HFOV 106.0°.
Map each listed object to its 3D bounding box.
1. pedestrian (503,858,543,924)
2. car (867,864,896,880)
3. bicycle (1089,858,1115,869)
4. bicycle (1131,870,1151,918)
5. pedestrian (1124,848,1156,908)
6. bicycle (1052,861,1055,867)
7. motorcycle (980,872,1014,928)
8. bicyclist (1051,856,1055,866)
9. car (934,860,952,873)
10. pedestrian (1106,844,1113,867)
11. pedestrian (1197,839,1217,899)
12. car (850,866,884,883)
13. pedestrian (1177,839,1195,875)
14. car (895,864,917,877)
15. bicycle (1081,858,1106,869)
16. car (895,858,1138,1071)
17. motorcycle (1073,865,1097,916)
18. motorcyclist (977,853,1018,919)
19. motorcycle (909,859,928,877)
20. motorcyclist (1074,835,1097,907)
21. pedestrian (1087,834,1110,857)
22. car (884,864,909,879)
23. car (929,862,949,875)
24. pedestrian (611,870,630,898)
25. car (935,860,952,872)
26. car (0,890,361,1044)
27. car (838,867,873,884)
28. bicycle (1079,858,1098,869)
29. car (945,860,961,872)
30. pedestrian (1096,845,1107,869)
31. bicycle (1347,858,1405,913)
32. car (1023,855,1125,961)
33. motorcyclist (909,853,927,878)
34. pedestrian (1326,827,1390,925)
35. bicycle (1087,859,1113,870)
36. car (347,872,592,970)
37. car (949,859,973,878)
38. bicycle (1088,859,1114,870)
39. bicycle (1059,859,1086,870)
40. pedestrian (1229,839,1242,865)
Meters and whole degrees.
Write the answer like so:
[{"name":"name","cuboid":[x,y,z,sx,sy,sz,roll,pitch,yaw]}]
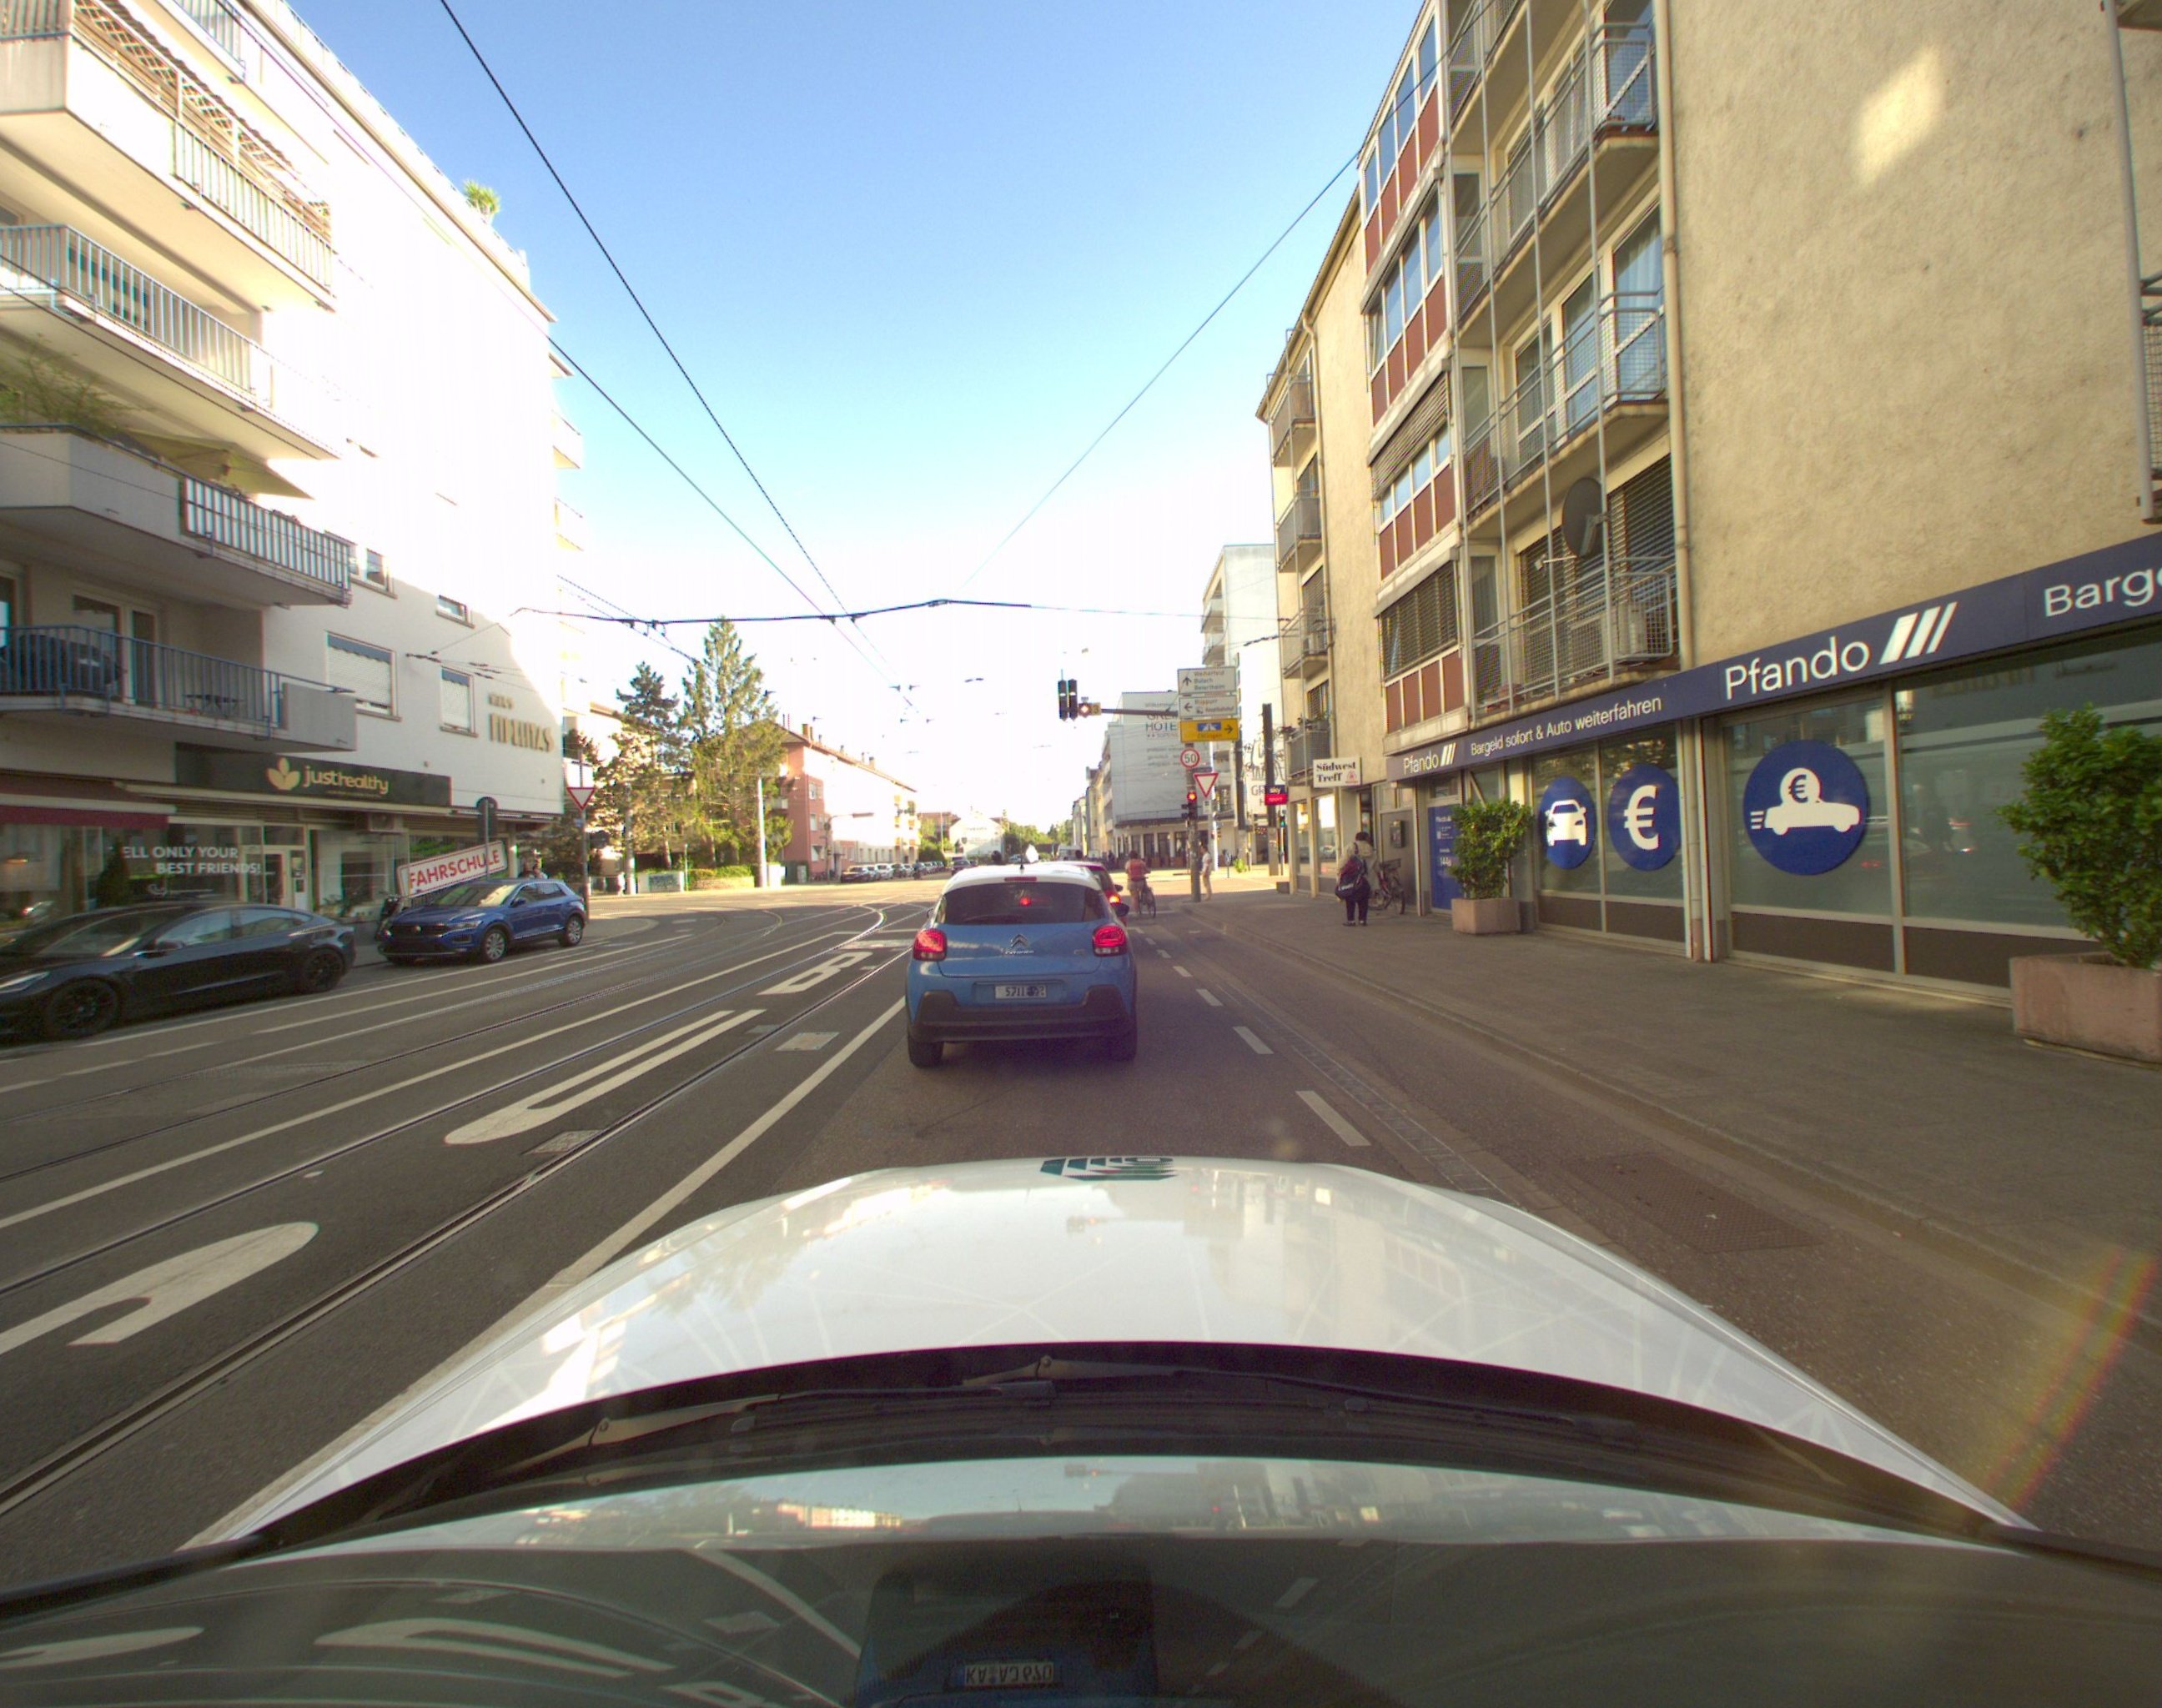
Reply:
[{"name":"pedestrian","cuboid":[-17.265,1.143,25.213,0.767,2.014,0.694,0,-1,-4]},{"name":"car","cuboid":[-19.475,1.743,79.774,1.781,1.511,4.150,0,-1,1]},{"name":"bicycle","cuboid":[1.708,0.774,66.031,2.130,0.901,0.366,0,-1,-7]},{"name":"bicycle","cuboid":[1.498,0.976,20.591,0.426,1.123,1.999,0,-1,2]},{"name":"pedestrian","cuboid":[1.465,0.597,20.304,0.774,1.460,0.682,0,-1,1]},{"name":"bicycle","cuboid":[-4.209,1.472,123.666,0.347,0.903,1.859,0,-1,0]},{"name":"motorcycle","cuboid":[-1.968,1.051,19.254,0.535,1.219,1.982,0,-1,2]},{"name":"bicyclist","cuboid":[-4.222,1.056,123.287,0.559,1.477,0.748,0,-1,2]},{"name":"car","cuboid":[-18.881,1.685,111.855,1.877,1.687,3.998,0,-1,-1]},{"name":"pedestrian","cuboid":[2.473,0.149,70.503,0.575,2.014,0.625,0,-1,-1]},{"name":"pedestrian","cuboid":[3.750,0.440,24.266,0.515,1.783,0.595,0,-1,0]},{"name":"car","cuboid":[-19.309,1.825,73.778,1.808,1.498,4.302,0,-1,2]},{"name":"pedestrian","cuboid":[6.055,0.174,46.879,0.922,2.014,0.760,0,-1,1]},{"name":"car","cuboid":[-19.932,1.852,92.734,1.728,1.498,3.996,0,-1,-2]},{"name":"bicycle","cuboid":[1.054,0.823,68.433,2.130,0.901,0.366,0,-1,-7]},{"name":"car","cuboid":[-0.388,0.766,7.303,1.648,1.444,3.524,0,-1,2]},{"name":"motorcycle","cuboid":[0.111,0.835,19.543,0.524,1.139,2.290,0,-1,2]},{"name":"motorcyclist","cuboid":[-1.943,0.726,18.952,0.857,1.505,0.598,0,-1,1]},{"name":"motorcycle","cuboid":[-13.487,1.156,67.678,0.921,1.486,3.724,0,-1,-1]},{"name":"motorcyclist","cuboid":[0.118,0.402,19.734,0.524,1.716,0.717,0,-1,2]},{"name":"pedestrian","cuboid":[1.630,-0.724,73.675,1.986,2.014,4.001,0,-1,2]},{"name":"car","cuboid":[-19.593,1.809,86.676,1.781,1.498,3.998,0,-1,-1]},{"name":"car","cuboid":[-18.563,1.849,106.856,1.978,1.687,3.998,0,-1,-1]},{"name":"pedestrian","cuboid":[-30.641,1.993,54.226,0.902,1.791,0.803,0,-1,-16]},{"name":"car","cuboid":[-19.809,1.734,117.175,1.828,1.687,3.998,0,-1,-1]},{"name":"car","cuboid":[-12.077,1.291,10.427,1.816,1.387,4.425,-2,0,-2]},{"name":"car","cuboid":[-19.196,1.813,69.429,1.787,1.421,3.996,0,-1,1]},{"name":"bicycle","cuboid":[0.622,0.822,69.444,1.765,0.901,0.369,-1,-1,36]},{"name":"car","cuboid":[-19.129,1.768,121.940,1.841,1.687,3.872,0,-1,-1]},{"name":"pedestrian","cuboid":[1.718,0.240,69.334,0.635,2.014,0.717,0,-1,-34]},{"name":"bicycle","cuboid":[5.694,0.582,15.803,0.540,0.998,1.706,0,-1,2]},{"name":"car","cuboid":[-0.049,0.793,13.244,1.419,1.467,2.925,-2,-1,2]},{"name":"motorcyclist","cuboid":[-13.542,0.926,67.555,1.182,2.013,1.275,-2,0,-1]},{"name":"pedestrian","cuboid":[4.635,0.361,13.671,0.822,1.593,0.751,0,-1,1]},{"name":"bicycle","cuboid":[1.579,0.868,67.466,2.130,0.901,0.366,0,-1,-7]},{"name":"car","cuboid":[-11.894,1.213,16.264,1.864,1.531,4.068,-2,0,-2]},{"name":"car","cuboid":[-11.334,1.344,76.879,1.770,1.666,3.854,0,-1,-2]},{"name":"bicycle","cuboid":[1.623,0.869,67.064,2.130,0.901,0.366,0,-1,-7]},{"name":"bicycle","cuboid":[-0.705,0.880,66.334,2.130,0.901,0.366,0,-1,-7]},{"name":"pedestrian","cuboid":[11.819,-0.155,62.119,0.750,2.014,0.716,-1,-1,33]}]
